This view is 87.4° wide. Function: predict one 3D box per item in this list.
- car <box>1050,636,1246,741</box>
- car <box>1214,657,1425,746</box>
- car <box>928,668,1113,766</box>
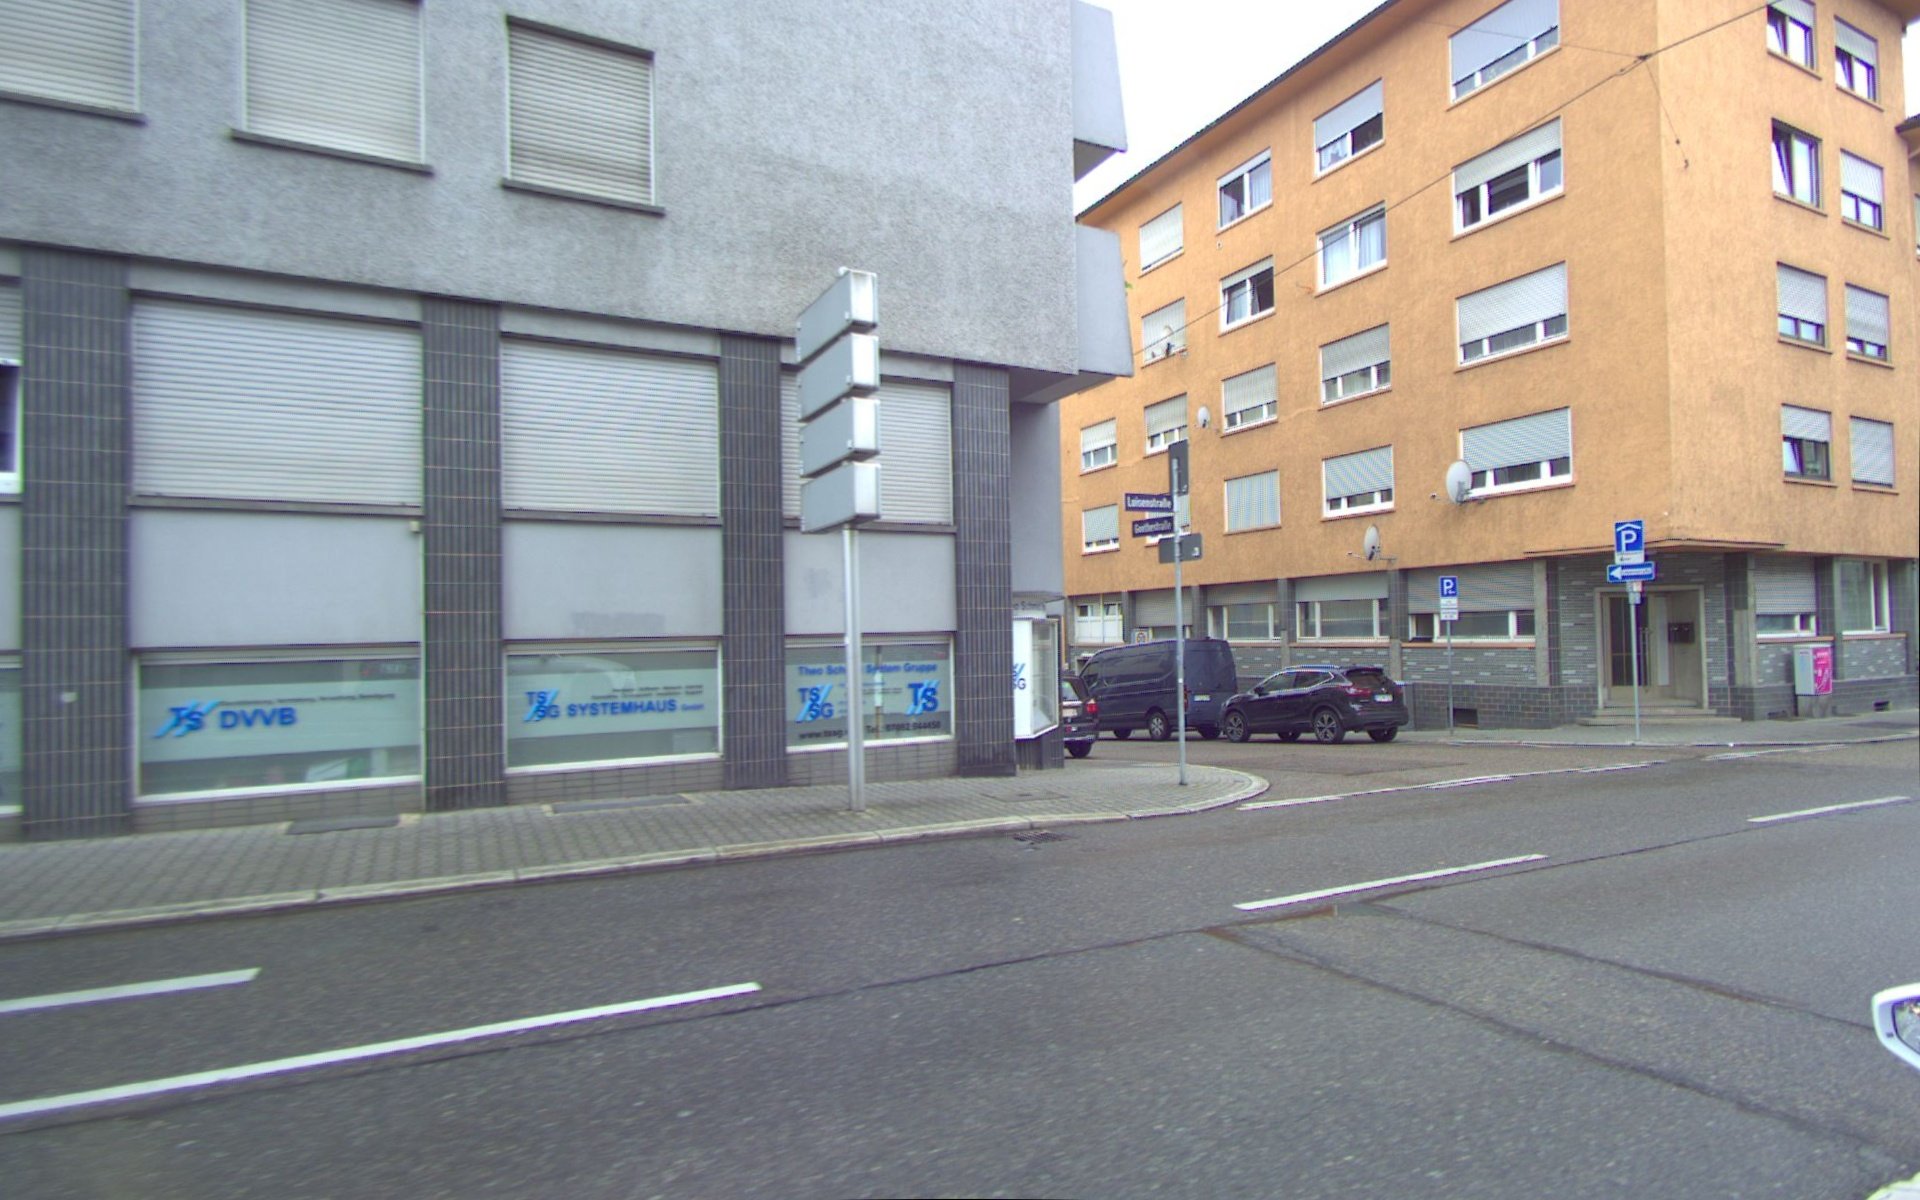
[{"bbox_3d":[4.818,2.392,26.683,1.961,2.490,5.315,1,-7,-32],"label":"car"},{"bbox_3d":[7.541,2.178,21.499,1.905,1.673,3.976,0,-6,-27],"label":"car"},{"bbox_3d":[1.115,2.372,20.521,1.906,1.739,3.973,1,-6,-29],"label":"car"}]
